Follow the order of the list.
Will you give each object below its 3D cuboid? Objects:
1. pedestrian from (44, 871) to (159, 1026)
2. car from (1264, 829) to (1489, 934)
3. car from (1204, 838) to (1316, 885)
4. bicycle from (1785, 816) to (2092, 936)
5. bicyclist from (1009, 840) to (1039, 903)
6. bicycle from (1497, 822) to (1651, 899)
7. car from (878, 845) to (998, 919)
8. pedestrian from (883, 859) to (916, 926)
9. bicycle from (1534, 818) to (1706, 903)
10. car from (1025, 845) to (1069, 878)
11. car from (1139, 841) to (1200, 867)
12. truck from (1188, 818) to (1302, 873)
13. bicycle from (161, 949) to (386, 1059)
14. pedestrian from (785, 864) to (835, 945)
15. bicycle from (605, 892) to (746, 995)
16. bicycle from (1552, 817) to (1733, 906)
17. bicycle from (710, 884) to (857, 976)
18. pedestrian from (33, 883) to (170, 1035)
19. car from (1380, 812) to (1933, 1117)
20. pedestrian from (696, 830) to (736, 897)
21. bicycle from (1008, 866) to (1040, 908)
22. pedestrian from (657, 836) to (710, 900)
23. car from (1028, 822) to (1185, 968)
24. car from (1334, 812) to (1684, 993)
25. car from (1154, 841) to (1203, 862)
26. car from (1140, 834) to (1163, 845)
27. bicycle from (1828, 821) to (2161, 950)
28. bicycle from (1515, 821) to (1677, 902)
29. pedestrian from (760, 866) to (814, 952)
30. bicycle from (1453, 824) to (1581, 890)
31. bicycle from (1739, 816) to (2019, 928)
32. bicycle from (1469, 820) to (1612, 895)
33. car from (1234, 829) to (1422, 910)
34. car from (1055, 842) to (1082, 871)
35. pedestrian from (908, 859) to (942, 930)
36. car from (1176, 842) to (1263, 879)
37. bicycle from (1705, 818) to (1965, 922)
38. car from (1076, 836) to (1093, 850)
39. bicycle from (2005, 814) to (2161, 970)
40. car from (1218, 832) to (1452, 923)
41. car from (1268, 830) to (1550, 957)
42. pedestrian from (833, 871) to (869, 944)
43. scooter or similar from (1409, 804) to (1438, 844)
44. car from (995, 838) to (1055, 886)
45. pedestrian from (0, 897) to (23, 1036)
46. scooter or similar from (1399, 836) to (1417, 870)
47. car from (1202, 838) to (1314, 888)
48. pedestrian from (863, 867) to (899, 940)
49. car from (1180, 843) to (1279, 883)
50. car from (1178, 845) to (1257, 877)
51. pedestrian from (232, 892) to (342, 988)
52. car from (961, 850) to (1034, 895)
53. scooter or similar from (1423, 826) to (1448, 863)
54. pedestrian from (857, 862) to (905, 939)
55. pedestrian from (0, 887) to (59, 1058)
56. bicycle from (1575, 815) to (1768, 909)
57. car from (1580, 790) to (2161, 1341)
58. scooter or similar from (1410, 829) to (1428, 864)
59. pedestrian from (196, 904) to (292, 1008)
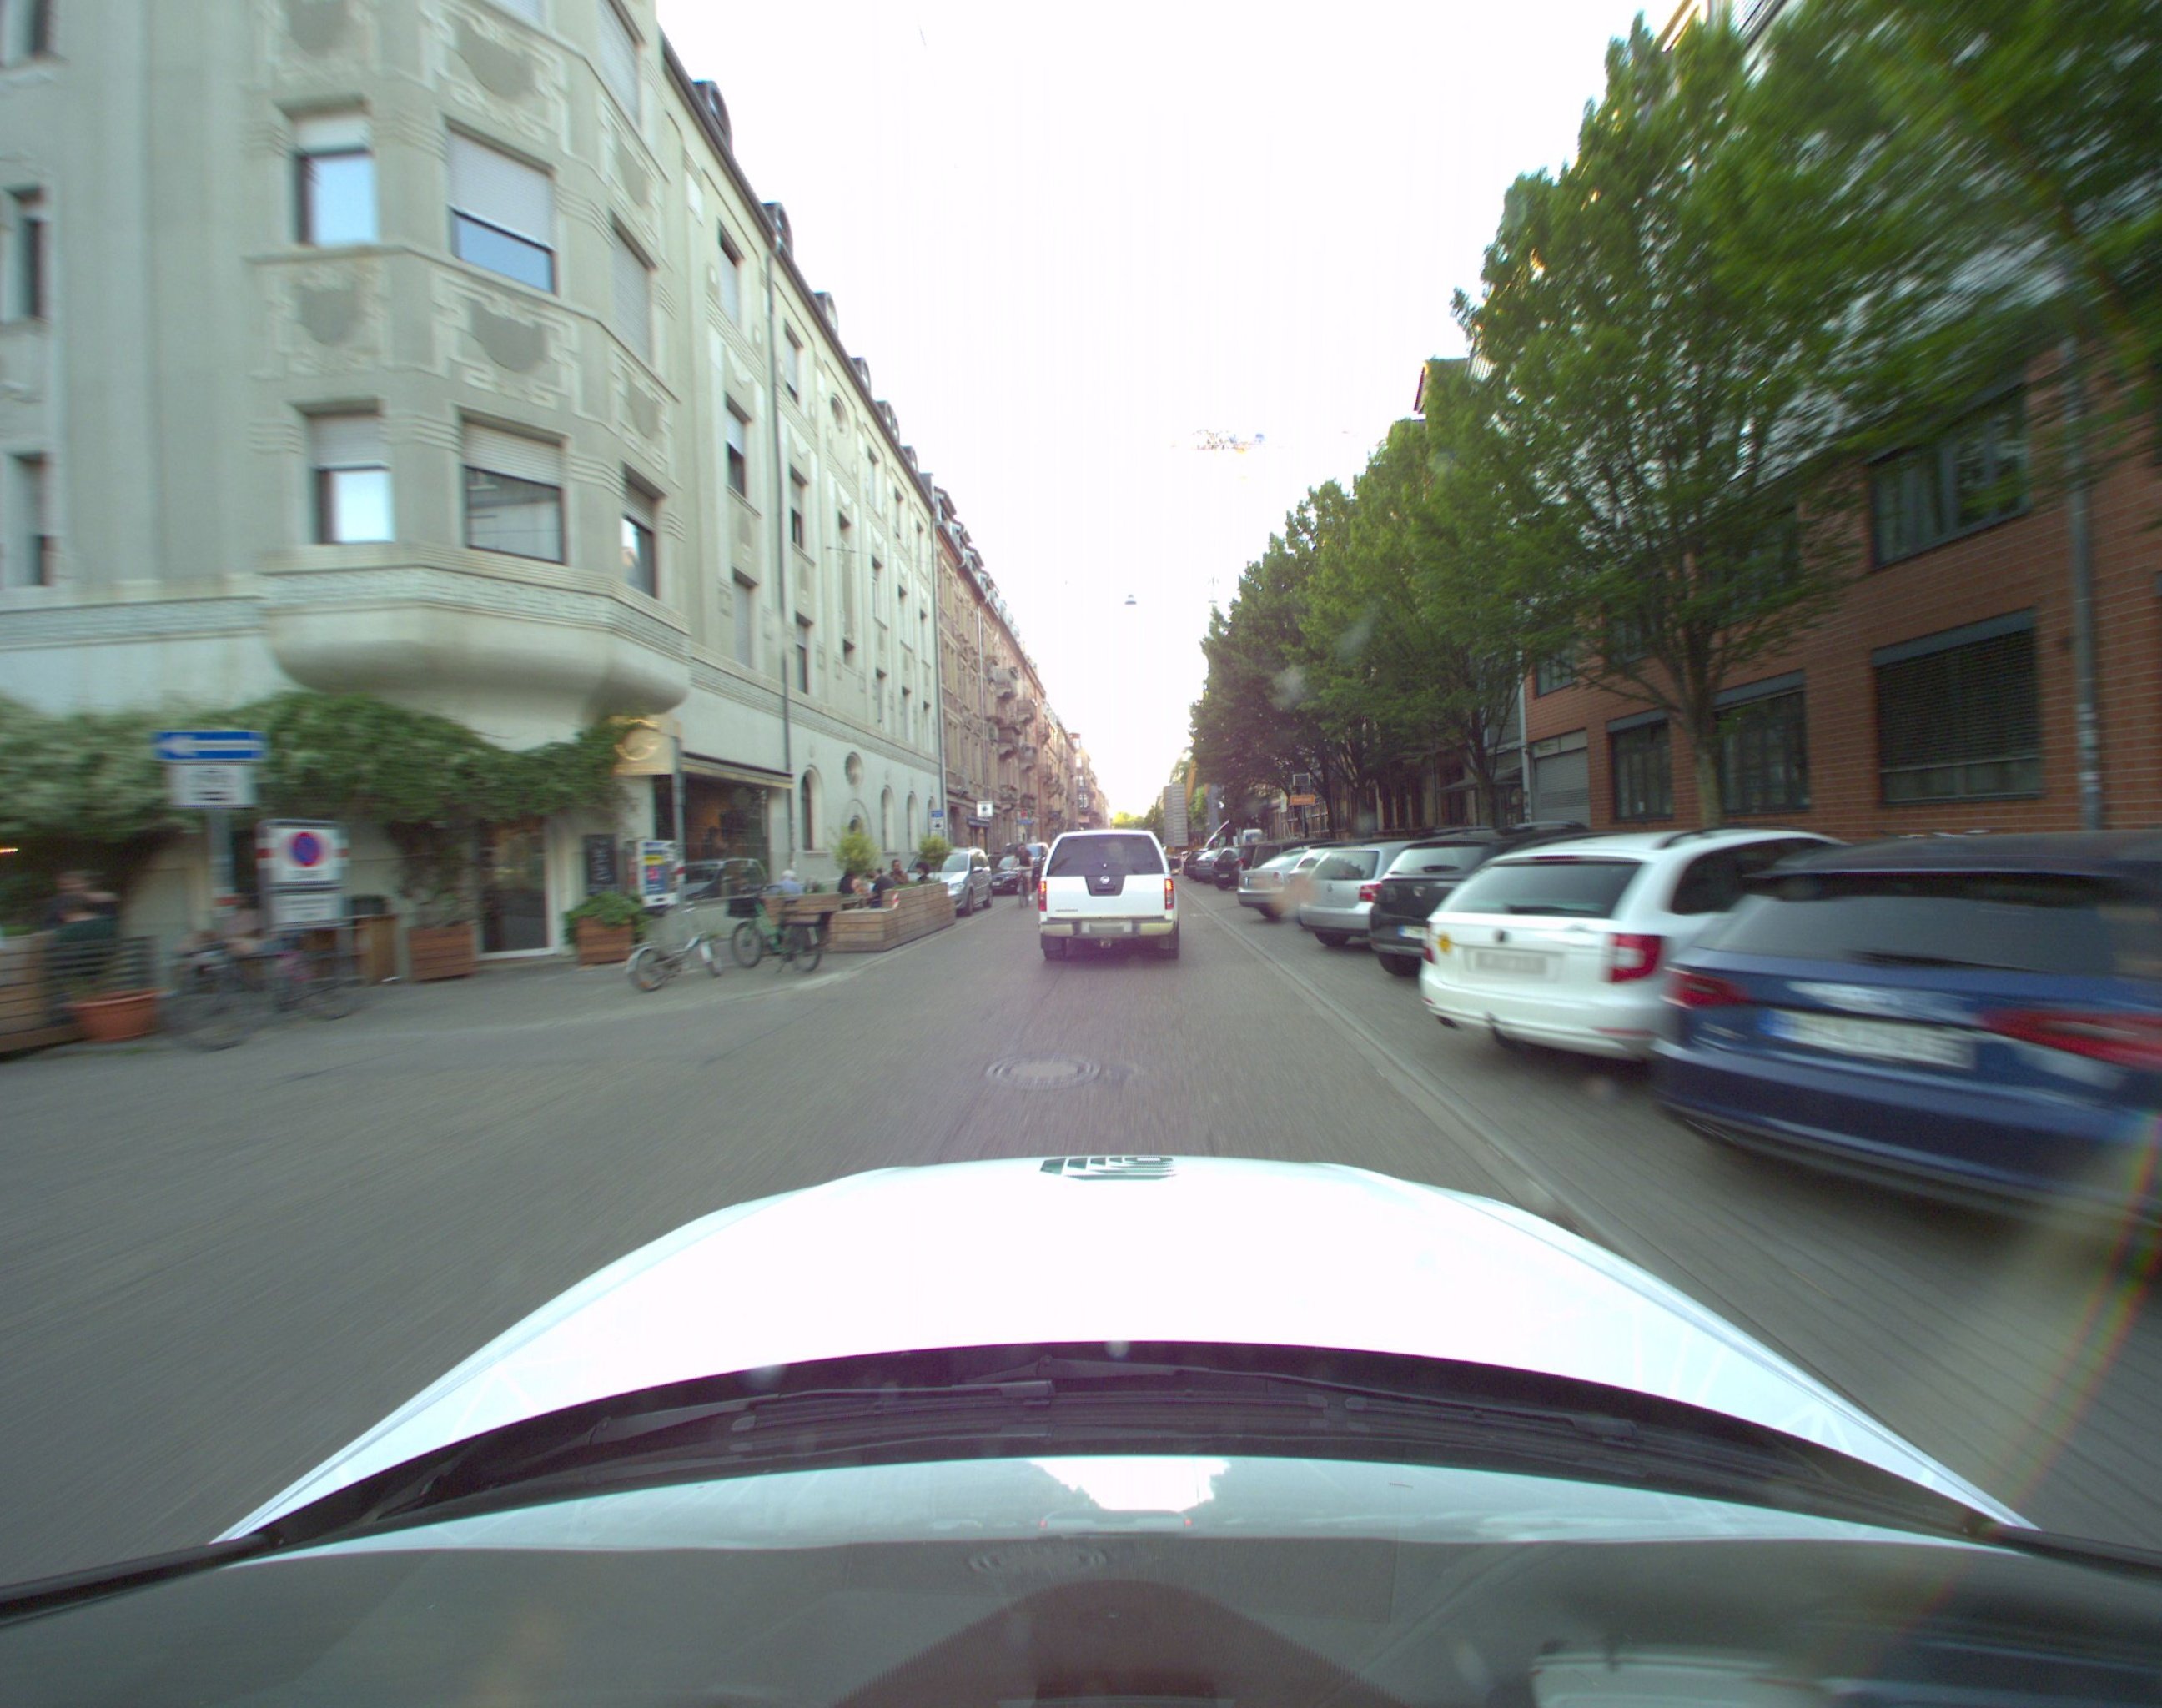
[{"bbox_3d":[-10.825,1.020,9.016,0.538,1.621,0.546,-3,0,3],"label":"pedestrian"},{"bbox_3d":[5.168,0.421,14.202,3.611,1.534,1.550,-3,0,-25],"label":"car"},{"bbox_3d":[6.901,0.274,31.467,3.841,1.530,1.749,-4,0,-22],"label":"car"},{"bbox_3d":[9.241,0.234,8.850,2.522,1.166,0.563,-2,0,5],"label":"bicycle"},{"bbox_3d":[-1.584,0.476,22.744,0.600,1.684,1.144,-2,0,4],"label":"bicyclist"},{"bbox_3d":[9.603,0.123,15.935,2.522,1.379,0.600,-2,0,5],"label":"bicycle"},{"bbox_3d":[-3.467,0.627,20.633,1.985,1.591,4.318,-2,0,3],"label":"car"},{"bbox_3d":[-3.759,0.780,16.912,0.515,1.350,0.540,-2,0,0],"label":"pedestrian"},{"bbox_3d":[9.538,0.120,14.484,2.522,1.379,0.600,-2,0,5],"label":"bicycle"},{"bbox_3d":[-1.850,0.386,45.948,1.896,1.663,4.073,-2,0,5],"label":"car"},{"bbox_3d":[6.394,0.010,58.614,4.170,1.780,1.824,-1,0,9],"label":"car"},{"bbox_3d":[9.521,-0.445,47.851,6.291,2.977,2.267,-1,-3,4],"label":"truck"},{"bbox_3d":[-7.997,1.449,8.192,0.422,0.695,1.780,-2,2,1],"label":"bicycle"},{"bbox_3d":[-4.623,0.850,13.912,0.535,1.324,0.706,-2,0,4],"label":"pedestrian"},{"bbox_3d":[-4.877,1.036,9.931,0.420,1.012,1.726,-1,2,17],"label":"bicycle"},{"bbox_3d":[9.487,0.127,13.836,2.522,1.379,0.600,-2,0,5],"label":"bicycle"},{"bbox_3d":[-3.946,0.959,10.727,2.090,1.094,0.504,-1,2,28],"label":"bicycle"},{"bbox_3d":[-10.115,1.057,8.430,0.569,1.469,0.645,-3,0,2],"label":"pedestrian"},{"bbox_3d":[4.269,0.537,5.939,4.010,1.537,1.621,-3,1,-28],"label":"car"},{"bbox_3d":[-7.555,0.195,16.881,0.536,1.350,0.519,-2,0,4],"label":"pedestrian"},{"bbox_3d":[-1.574,0.897,22.743,0.612,1.040,1.906,-2,0,4],"label":"bicycle"},{"bbox_3d":[-7.384,0.258,15.147,0.555,1.154,0.748,-2,0,2],"label":"pedestrian"},{"bbox_3d":[0.531,0.492,12.457,1.924,1.794,4.629,-1,0,5],"label":"car"},{"bbox_3d":[4.743,0.403,8.960,3.616,1.580,1.700,-3,0,-30],"label":"car"},{"bbox_3d":[8.650,-0.236,72.133,4.174,1.780,1.823,-1,0,6],"label":"car"},{"bbox_3d":[14.482,-2.913,166.949,4.564,2.177,1.823,-1,0,6],"label":"car"},{"bbox_3d":[9.134,0.312,8.202,2.522,1.166,0.563,-2,0,5],"label":"bicycle"},{"bbox_3d":[9.588,0.136,15.234,2.522,1.379,0.600,-2,0,5],"label":"bicycle"},{"bbox_3d":[-4.704,0.863,13.044,0.535,1.324,0.706,-2,0,4],"label":"pedestrian"},{"bbox_3d":[10.009,0.069,18.751,2.522,1.379,0.600,-2,0,5],"label":"bicycle"},{"bbox_3d":[9.246,0.209,9.509,2.522,1.166,0.563,-2,0,5],"label":"bicycle"},{"bbox_3d":[9.795,0.078,17.423,2.522,1.244,0.600,-7,-1,5],"label":"bicycle"},{"bbox_3d":[5.936,0.341,19.700,3.996,1.636,1.749,-3,0,-17],"label":"car"},{"bbox_3d":[-0.825,0.149,55.077,1.553,1.921,3.859,0,0,3],"label":"car"},{"bbox_3d":[-3.089,0.791,16.191,0.482,1.350,0.669,-2,0,2],"label":"pedestrian"},{"bbox_3d":[6.296,0.286,36.943,3.911,1.530,1.620,-2,0,-36],"label":"car"},{"bbox_3d":[9.300,0.200,10.118,2.522,1.166,0.563,-2,0,5],"label":"bicycle"},{"bbox_3d":[0.400,-1.246,92.991,1.702,1.530,4.004,-1,0,3],"label":"car"},{"bbox_3d":[8.958,0.222,6.415,2.335,1.099,0.681,-5,0,5],"label":"bicycle"},{"bbox_3d":[5.217,0.429,16.753,4.389,1.534,1.794,-3,0,-21],"label":"car"},{"bbox_3d":[4.714,0.477,11.724,3.611,1.482,1.709,-3,0,-24],"label":"car"},{"bbox_3d":[-4.421,1.021,15.699,0.466,1.350,0.611,-2,0,2],"label":"pedestrian"},{"bbox_3d":[11.238,-0.968,26.795,0.464,1.217,1.782,-9,-2,15],"label":"scooter or similar"},{"bbox_3d":[-2.354,0.316,35.509,1.896,1.925,4.953,-1,0,4],"label":"car"},{"bbox_3d":[-11.615,1.194,8.376,0.569,1.443,0.645,-3,0,4],"label":"pedestrian"},{"bbox_3d":[12.222,-0.052,30.387,0.365,1.218,1.630,-5,-1,27],"label":"scooter or similar"},{"bbox_3d":[6.146,0.284,28.290,3.416,1.474,1.759,-4,1,-28],"label":"car"},{"bbox_3d":[-3.858,0.948,15.732,0.466,1.350,0.611,-2,0,2],"label":"pedestrian"},{"bbox_3d":[6.270,0.362,34.321,3.850,1.436,1.745,-4,1,-31],"label":"car"},{"bbox_3d":[6.663,0.327,39.785,3.568,1.464,1.597,-2,0,-28],"label":"car"},{"bbox_3d":[-10.903,1.160,11.212,0.687,1.214,0.780,-2,0,4],"label":"pedestrian"},{"bbox_3d":[-2.955,0.614,29.761,1.903,1.472,4.538,-1,0,3],"label":"car"},{"bbox_3d":[12.352,-0.333,28.391,0.408,1.218,1.783,-7,-1,15],"label":"scooter or similar"},{"bbox_3d":[-3.606,0.825,14.710,0.606,1.324,0.771,-2,0,2],"label":"pedestrian"},{"bbox_3d":[-10.259,1.109,7.470,0.699,1.540,0.784,-3,0,2],"label":"pedestrian"},{"bbox_3d":[9.466,0.131,13.121,2.522,1.379,0.600,-2,0,5],"label":"bicycle"},{"bbox_3d":[4.424,0.530,3.796,4.010,1.523,1.694,-3,-1,-28],"label":"car"},{"bbox_3d":[12.262,-0.280,29.535,0.365,1.218,1.714,-5,-1,27],"label":"scooter or similar"},{"bbox_3d":[-10.517,1.268,10.249,0.528,1.214,0.607,-2,0,4],"label":"pedestrian"}]
